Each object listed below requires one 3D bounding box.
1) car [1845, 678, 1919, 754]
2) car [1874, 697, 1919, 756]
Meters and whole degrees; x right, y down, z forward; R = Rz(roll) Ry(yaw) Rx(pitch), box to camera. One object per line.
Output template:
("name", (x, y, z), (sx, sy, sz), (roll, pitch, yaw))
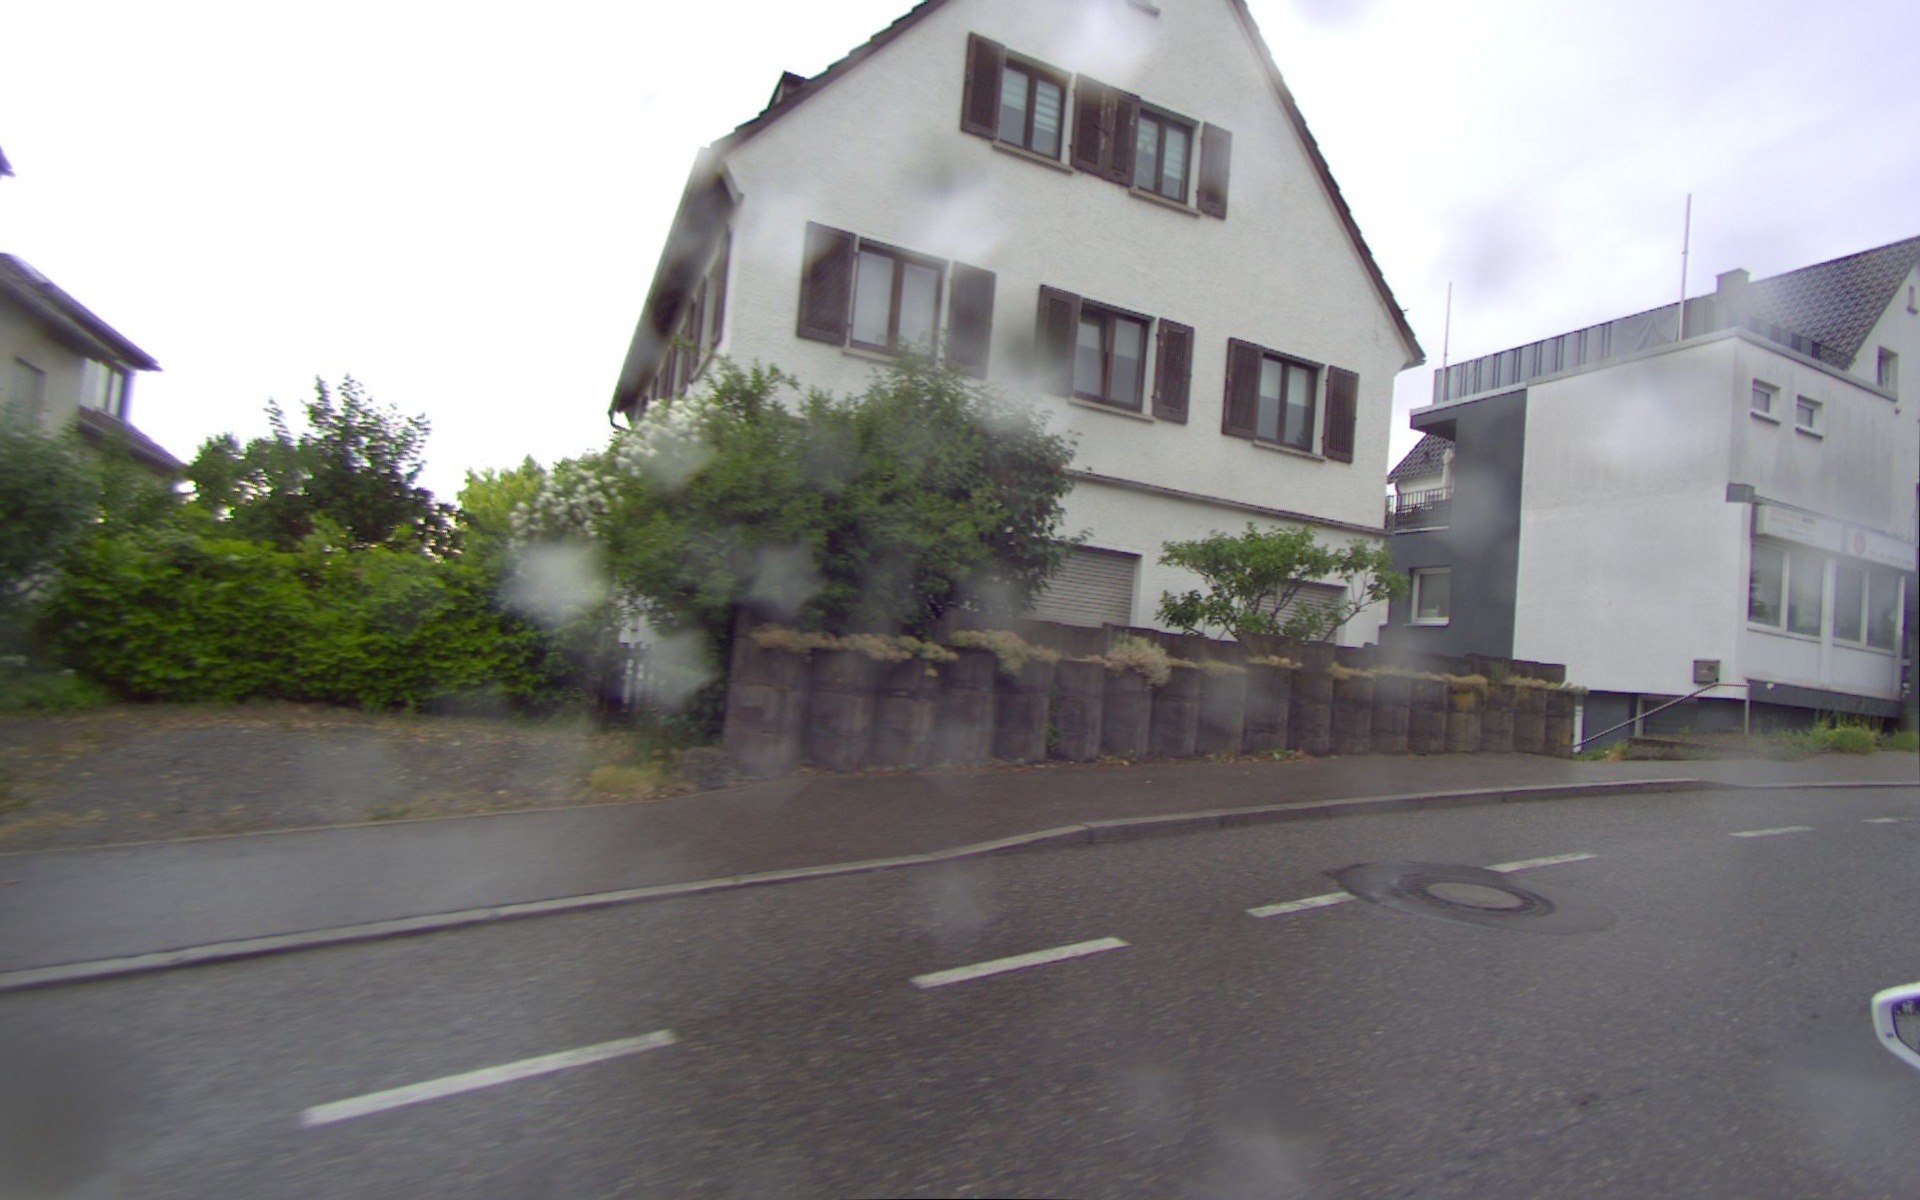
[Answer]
("car", (33.905, 3.971, 33.514), (2.166, 2.555, 6.205), (6, -6, -30))
("car", (30.103, 3.804, 29.243), (2.041, 1.727, 4.763), (5, -6, -26))
